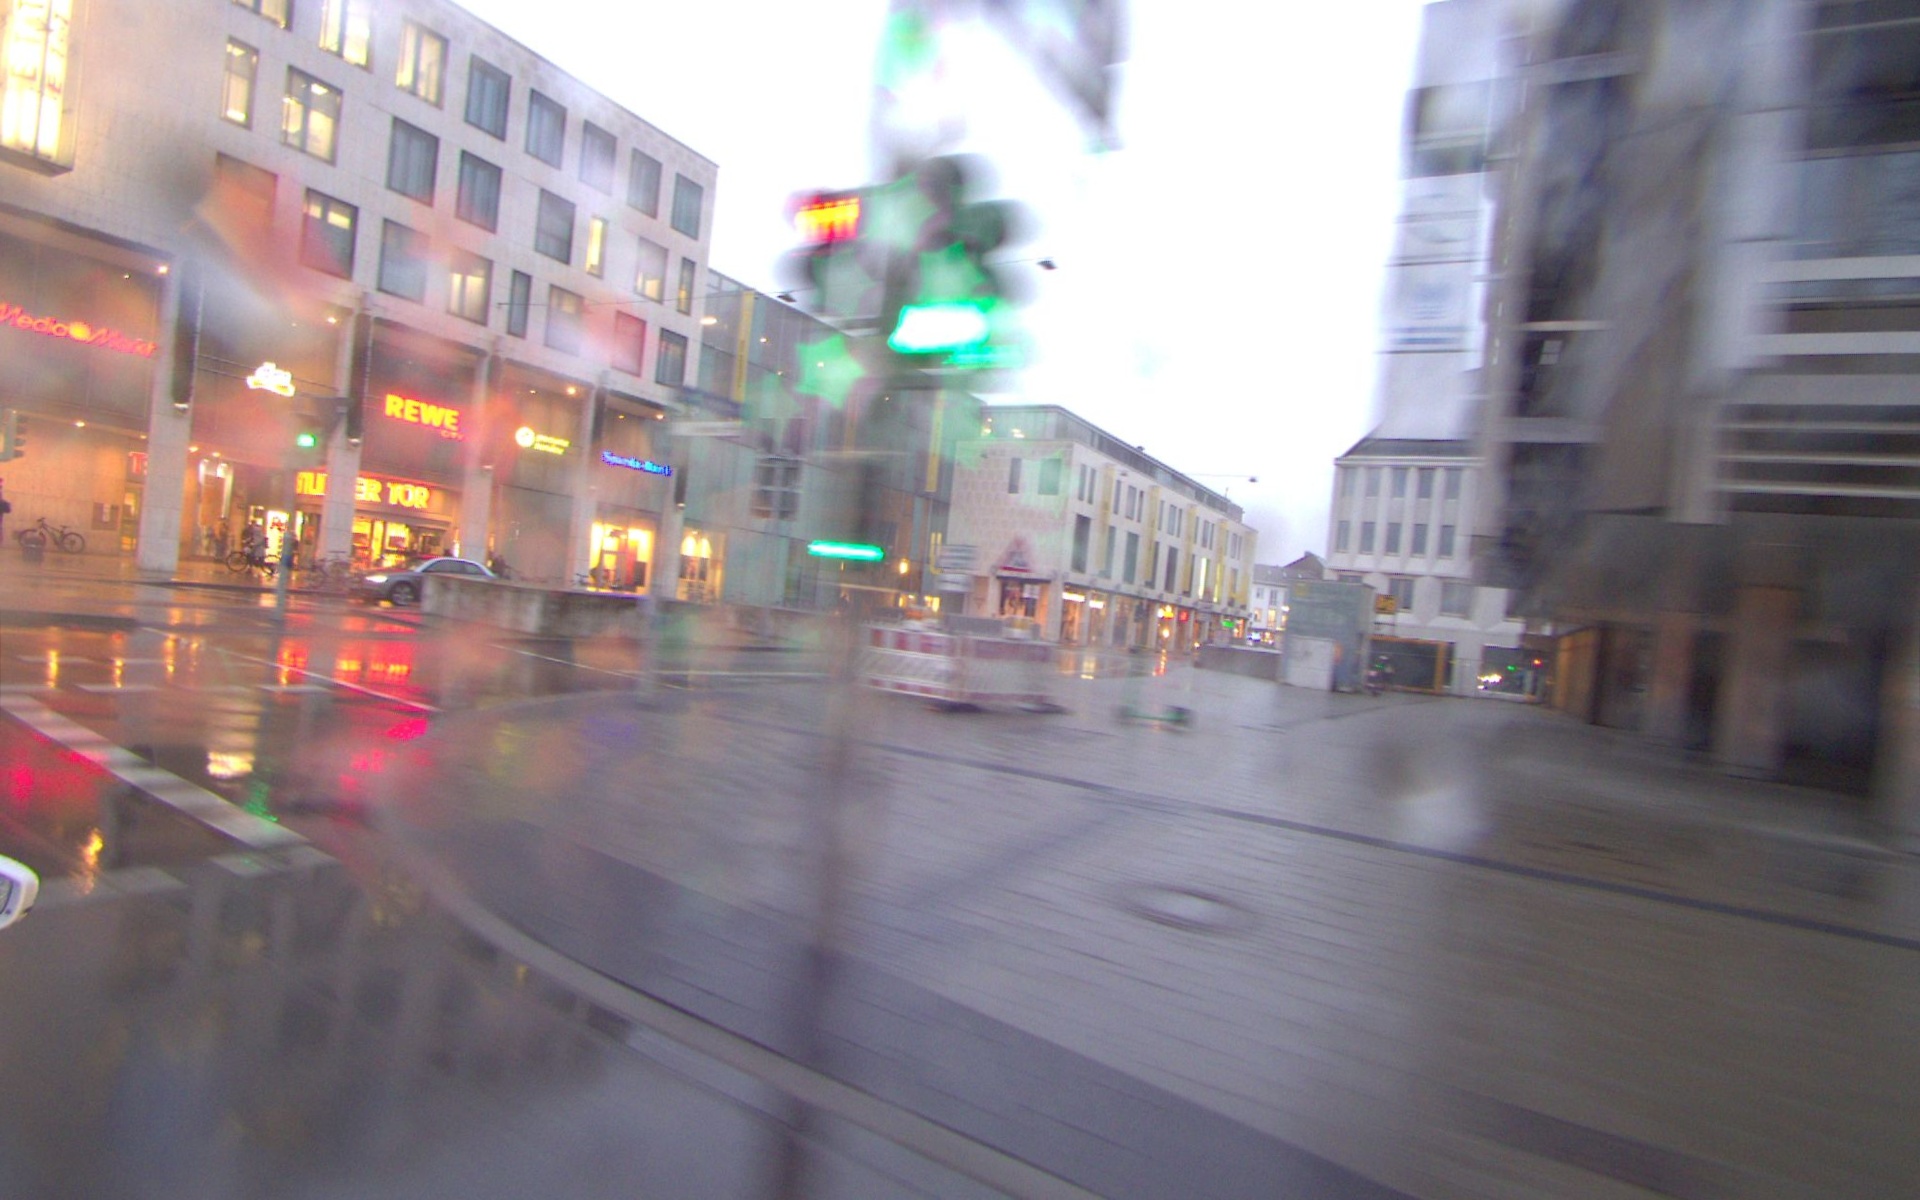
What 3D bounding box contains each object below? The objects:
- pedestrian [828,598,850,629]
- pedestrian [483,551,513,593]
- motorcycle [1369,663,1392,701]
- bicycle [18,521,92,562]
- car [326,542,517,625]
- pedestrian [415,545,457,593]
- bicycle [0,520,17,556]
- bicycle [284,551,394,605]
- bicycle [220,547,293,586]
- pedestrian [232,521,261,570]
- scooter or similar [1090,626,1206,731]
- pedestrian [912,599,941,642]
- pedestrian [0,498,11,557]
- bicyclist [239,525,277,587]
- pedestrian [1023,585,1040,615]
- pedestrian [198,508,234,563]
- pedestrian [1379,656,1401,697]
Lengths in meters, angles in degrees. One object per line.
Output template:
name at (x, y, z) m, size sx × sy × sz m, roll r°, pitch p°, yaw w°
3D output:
pedestrian at (-7.100, 0.811, 59.011) m, size 0.769 × 1.703 × 0.742 m, roll 6°, pitch -1°, yaw 36°
pedestrian at (-19.840, -1.183, 43.232) m, size 0.519 × 1.705 × 0.894 m, roll 6°, pitch 0°, yaw 30°
motorcycle at (16.435, 3.210, 39.317) m, size 0.584 × 1.368 × 1.494 m, roll 7°, pitch -1°, yaw 28°
bicycle at (-29.406, -1.892, 32.713) m, size 0.515 × 1.082 × 1.651 m, roll 6°, pitch -2°, yaw 27°
car at (-14.423, -0.398, 27.158) m, size 1.967 × 1.636 × 3.995 m, roll 6°, pitch -2°, yaw 31°
pedestrian at (-20.382, -1.215, 39.143) m, size 0.810 × 1.703 × 1.032 m, roll 6°, pitch -1°, yaw 30°
bicycle at (-30.295, -2.005, 30.914) m, size 0.515 × 1.082 × 1.774 m, roll 6°, pitch -2°, yaw 22°
bicycle at (-19.260, -0.659, 31.292) m, size 0.941 × 1.375 × 2.718 m, roll 6°, pitch -1°, yaw 27°
bicycle at (-24.517, -1.148, 35.062) m, size 1.951 × 1.099 × 0.917 m, roll 7°, pitch 0°, yaw -39°
pedestrian at (-26.730, -2.044, 37.693) m, size 0.730 × 1.740 × 0.733 m, roll 5°, pitch 1°, yaw -32°
scooter or similar at (2.842, 1.176, 15.216) m, size 1.469 × 1.368 × 0.593 m, roll 7°, pitch -1°, yaw 30°
pedestrian at (-1.436, 0.889, 42.721) m, size 0.769 × 1.703 × 0.742 m, roll 6°, pitch -1°, yaw 36°
pedestrian at (-29.407, -2.237, 30.559) m, size 0.517 × 1.765 × 0.600 m, roll 6°, pitch -1°, yaw 38°
bicyclist at (-24.467, -1.546, 35.060) m, size 0.917 × 2.039 × 0.898 m, roll 6°, pitch 1°, yaw -37°
pedestrian at (4.200, 0.010, 59.117) m, size 0.572 × 1.703 × 0.542 m, roll 6°, pitch -1°, yaw 36°
pedestrian at (-29.262, -2.537, 39.593) m, size 0.688 × 2.039 × 0.845 m, roll 7°, pitch 1°, yaw 39°
pedestrian at (20.189, 3.588, 47.213) m, size 0.678 × 1.796 × 0.660 m, roll 6°, pitch -1°, yaw 14°
